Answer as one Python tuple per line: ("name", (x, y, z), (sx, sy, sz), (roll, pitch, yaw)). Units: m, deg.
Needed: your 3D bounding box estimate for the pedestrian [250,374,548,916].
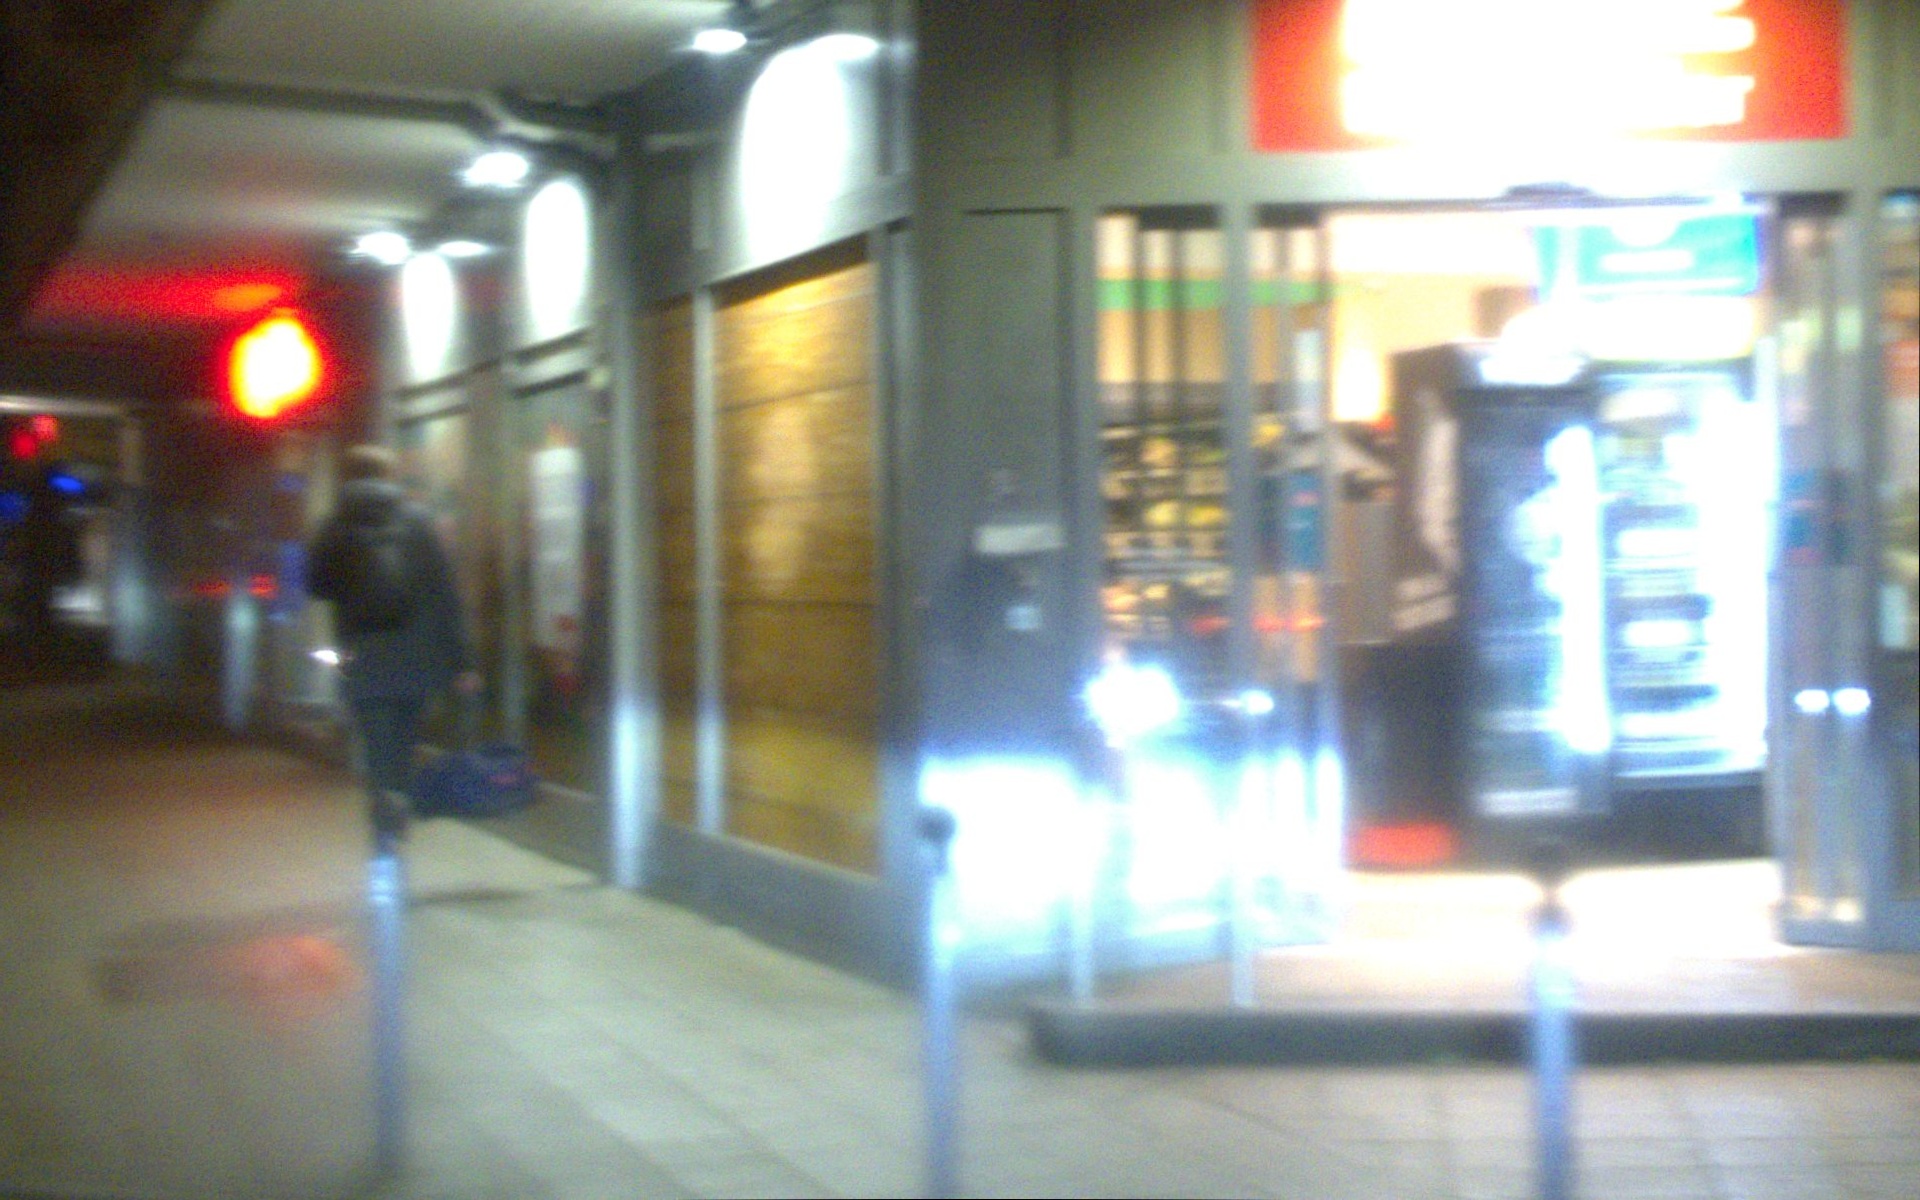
("pedestrian", (-2.406, 0.173, 14.665), (1.053, 2.201, 0.970), (-2, 0, -18))
